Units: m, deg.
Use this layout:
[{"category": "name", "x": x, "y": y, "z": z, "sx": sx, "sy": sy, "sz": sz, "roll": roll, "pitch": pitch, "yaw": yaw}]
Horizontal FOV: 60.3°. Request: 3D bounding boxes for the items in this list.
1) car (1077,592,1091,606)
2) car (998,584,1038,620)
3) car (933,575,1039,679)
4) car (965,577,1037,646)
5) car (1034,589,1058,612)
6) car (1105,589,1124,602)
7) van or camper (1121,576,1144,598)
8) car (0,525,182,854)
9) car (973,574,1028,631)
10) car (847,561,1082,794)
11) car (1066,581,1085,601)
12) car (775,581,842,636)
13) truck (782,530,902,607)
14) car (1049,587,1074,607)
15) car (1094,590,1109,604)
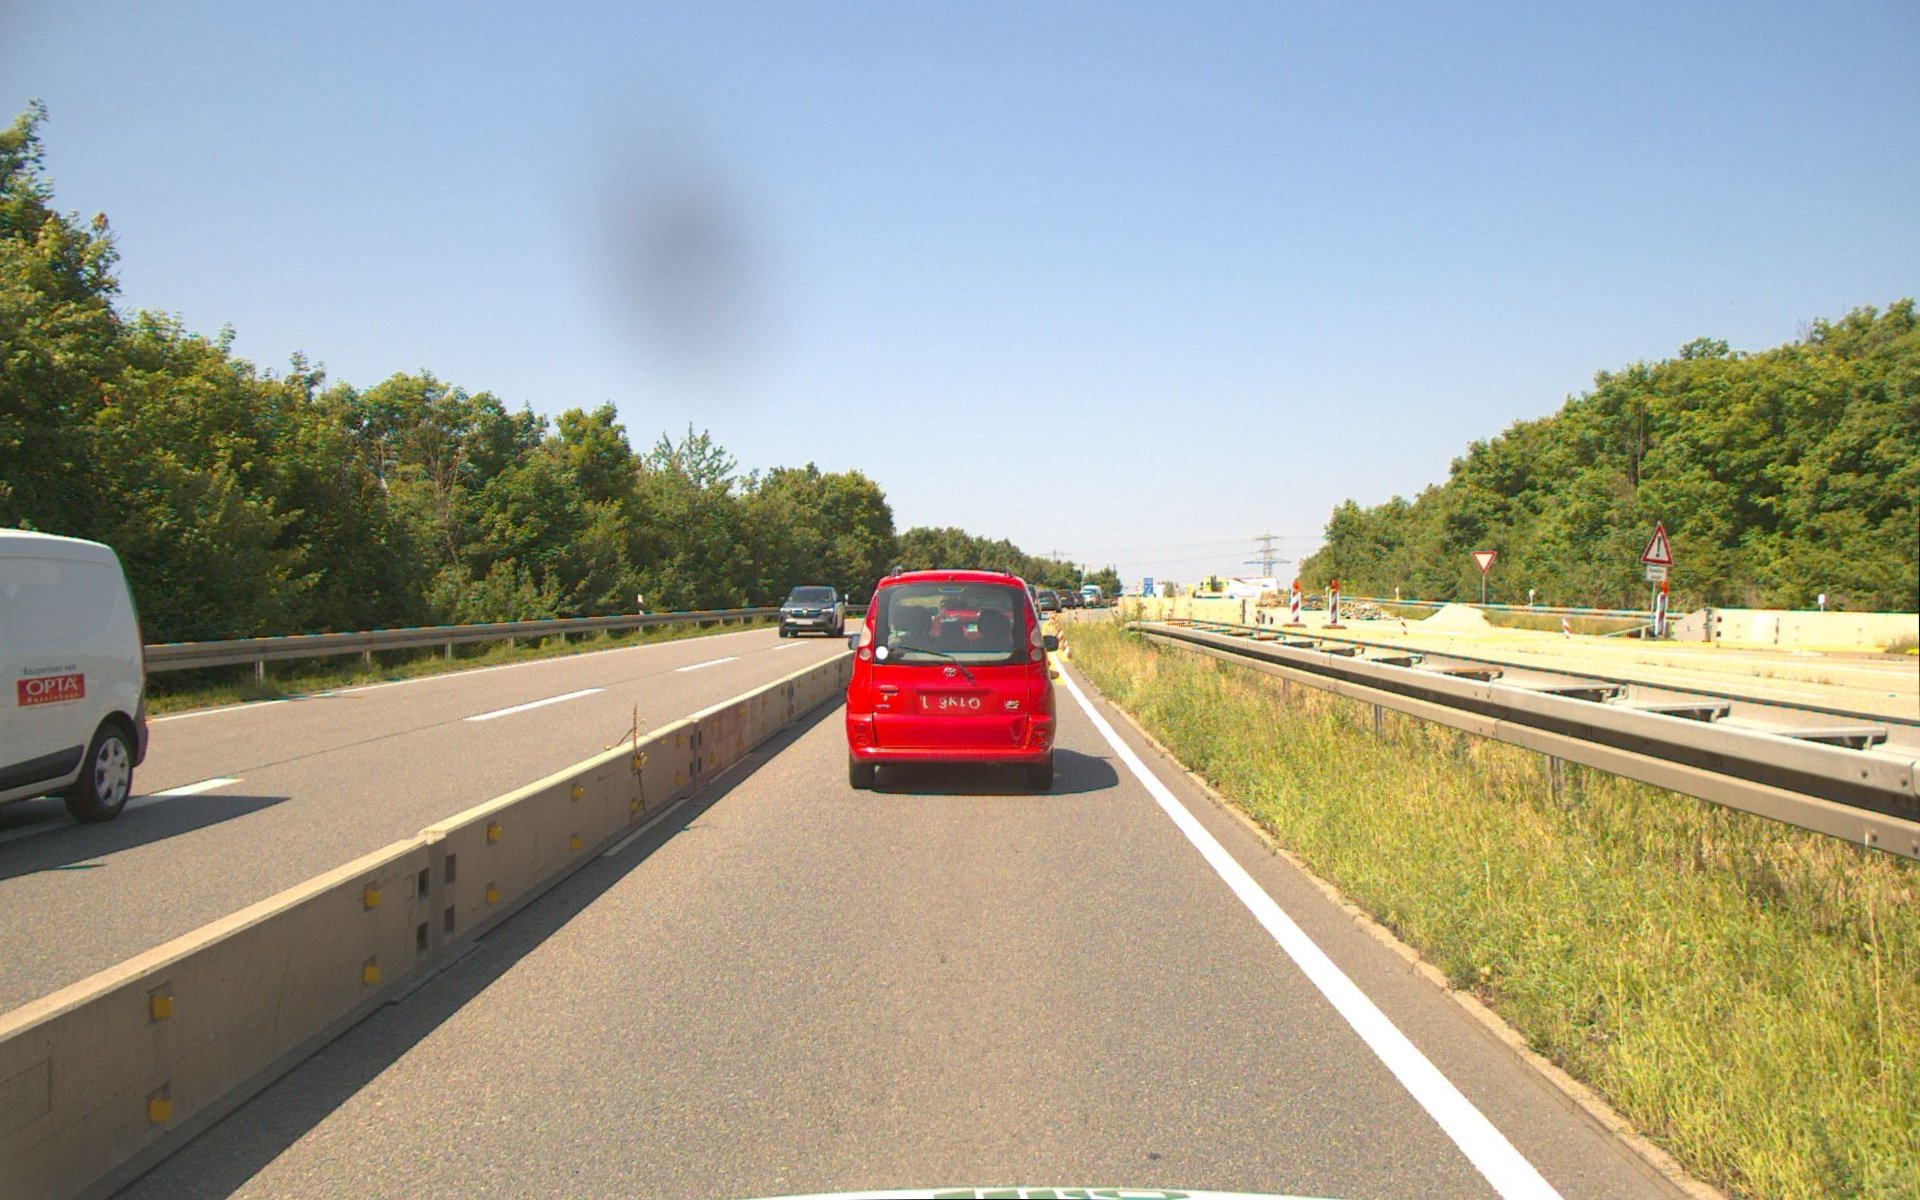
[{"category": "car", "x": 12.266, "y": -0.129, "z": 163.482, "sx": 1.391, "sy": 1.321, "sz": 2.880, "roll": 0, "pitch": 0, "yaw": 3}, {"category": "car", "x": 2.943, "y": 0.073, "z": 84.105, "sx": 1.952, "sy": 1.780, "sz": 4.001, "roll": 0, "pitch": 0, "yaw": 2}, {"category": "car", "x": 0.487, "y": 0.444, "z": 30.115, "sx": 1.792, "sy": 1.752, "sz": 4.001, "roll": 0, "pitch": 0, "yaw": 1}, {"category": "car", "x": 1.152, "y": 0.298, "z": 47.124, "sx": 1.952, "sy": 1.870, "sz": 4.001, "roll": 0, "pitch": 0, "yaw": 1}, {"category": "car", "x": 5.658, "y": 0.006, "z": 109.483, "sx": 1.471, "sy": 1.476, "sz": 3.326, "roll": -1, "pitch": 0, "yaw": 1}, {"category": "car", "x": 18.845, "y": -0.520, "z": 202.251, "sx": 1.952, "sy": 1.579, "sz": 4.001, "roll": -1, "pitch": 0, "yaw": 1}, {"category": "van or camper", "x": 21.158, "y": -1.584, "z": 203.247, "sx": 2.281, "sy": 2.754, "sz": 4.592, "roll": -1, "pitch": 0, "yaw": -1}, {"category": "car", "x": -6.104, "y": 0.489, "z": 9.045, "sx": 1.720, "sy": 1.795, "sz": 4.283, "roll": 0, "pitch": 0, "yaw": -1}, {"category": "car", "x": 1.498, "y": 0.085, "z": 62.551, "sx": 1.953, "sy": 2.038, "sz": 3.999, "roll": 1, "pitch": 0, "yaw": -1}, {"category": "car", "x": 0.018, "y": 0.565, "z": 14.100, "sx": 1.716, "sy": 1.702, "sz": 3.999, "roll": 0, "pitch": 0, "yaw": -1}, {"category": "car", "x": 10.281, "y": -0.796, "z": 147.121, "sx": 1.471, "sy": 1.767, "sz": 3.170, "roll": -1, "pitch": 0, "yaw": 2}, {"category": "car", "x": -4.877, "y": 0.241, "z": 53.675, "sx": 1.820, "sy": 1.667, "sz": 4.383, "roll": -1, "pitch": 0, "yaw": -1}, {"category": "truck", "x": -8.688, "y": -2.295, "z": 122.889, "sx": 8.440, "sy": 5.469, "sz": 3.390, "roll": -1, "pitch": 0, "yaw": 2}, {"category": "car", "x": 8.217, "y": -0.263, "z": 134.062, "sx": 1.951, "sy": 1.612, "sz": 4.002, "roll": 0, "pitch": 0, "yaw": 5}, {"category": "car", "x": 15.191, "y": -0.371, "z": 177.730, "sx": 1.470, "sy": 1.476, "sz": 3.171, "roll": 0, "pitch": 0, "yaw": 3}]
